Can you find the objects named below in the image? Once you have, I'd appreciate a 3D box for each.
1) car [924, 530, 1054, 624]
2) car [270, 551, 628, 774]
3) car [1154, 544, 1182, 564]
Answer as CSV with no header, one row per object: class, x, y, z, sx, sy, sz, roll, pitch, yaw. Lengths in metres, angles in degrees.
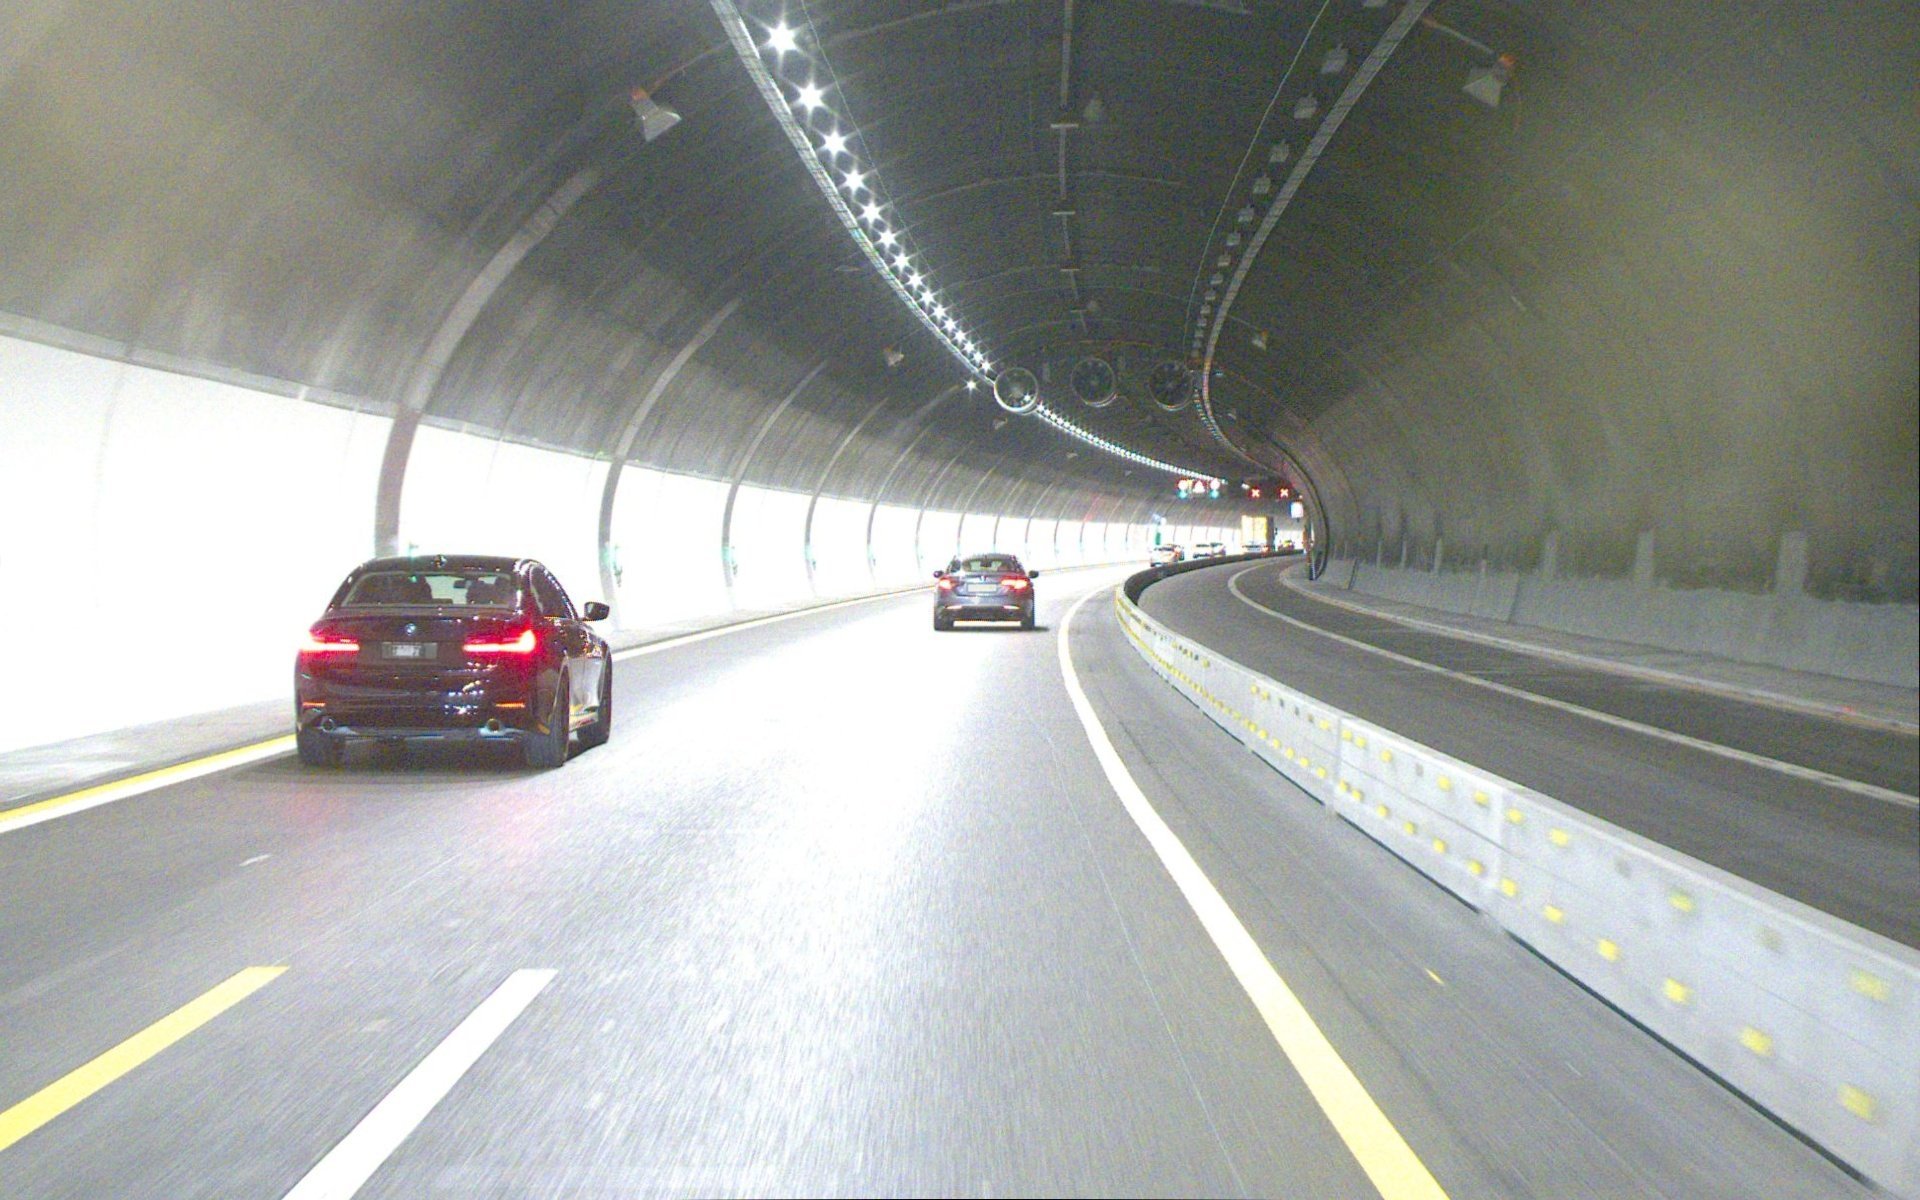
car,0.575,-0.453,64.361,2.141,1.700,4.000,0,1,5
car,-3.577,0.371,24.903,1.778,1.433,4.883,0,1,1
car,13.534,-3.010,223.780,1.595,1.328,3.749,0,1,7
